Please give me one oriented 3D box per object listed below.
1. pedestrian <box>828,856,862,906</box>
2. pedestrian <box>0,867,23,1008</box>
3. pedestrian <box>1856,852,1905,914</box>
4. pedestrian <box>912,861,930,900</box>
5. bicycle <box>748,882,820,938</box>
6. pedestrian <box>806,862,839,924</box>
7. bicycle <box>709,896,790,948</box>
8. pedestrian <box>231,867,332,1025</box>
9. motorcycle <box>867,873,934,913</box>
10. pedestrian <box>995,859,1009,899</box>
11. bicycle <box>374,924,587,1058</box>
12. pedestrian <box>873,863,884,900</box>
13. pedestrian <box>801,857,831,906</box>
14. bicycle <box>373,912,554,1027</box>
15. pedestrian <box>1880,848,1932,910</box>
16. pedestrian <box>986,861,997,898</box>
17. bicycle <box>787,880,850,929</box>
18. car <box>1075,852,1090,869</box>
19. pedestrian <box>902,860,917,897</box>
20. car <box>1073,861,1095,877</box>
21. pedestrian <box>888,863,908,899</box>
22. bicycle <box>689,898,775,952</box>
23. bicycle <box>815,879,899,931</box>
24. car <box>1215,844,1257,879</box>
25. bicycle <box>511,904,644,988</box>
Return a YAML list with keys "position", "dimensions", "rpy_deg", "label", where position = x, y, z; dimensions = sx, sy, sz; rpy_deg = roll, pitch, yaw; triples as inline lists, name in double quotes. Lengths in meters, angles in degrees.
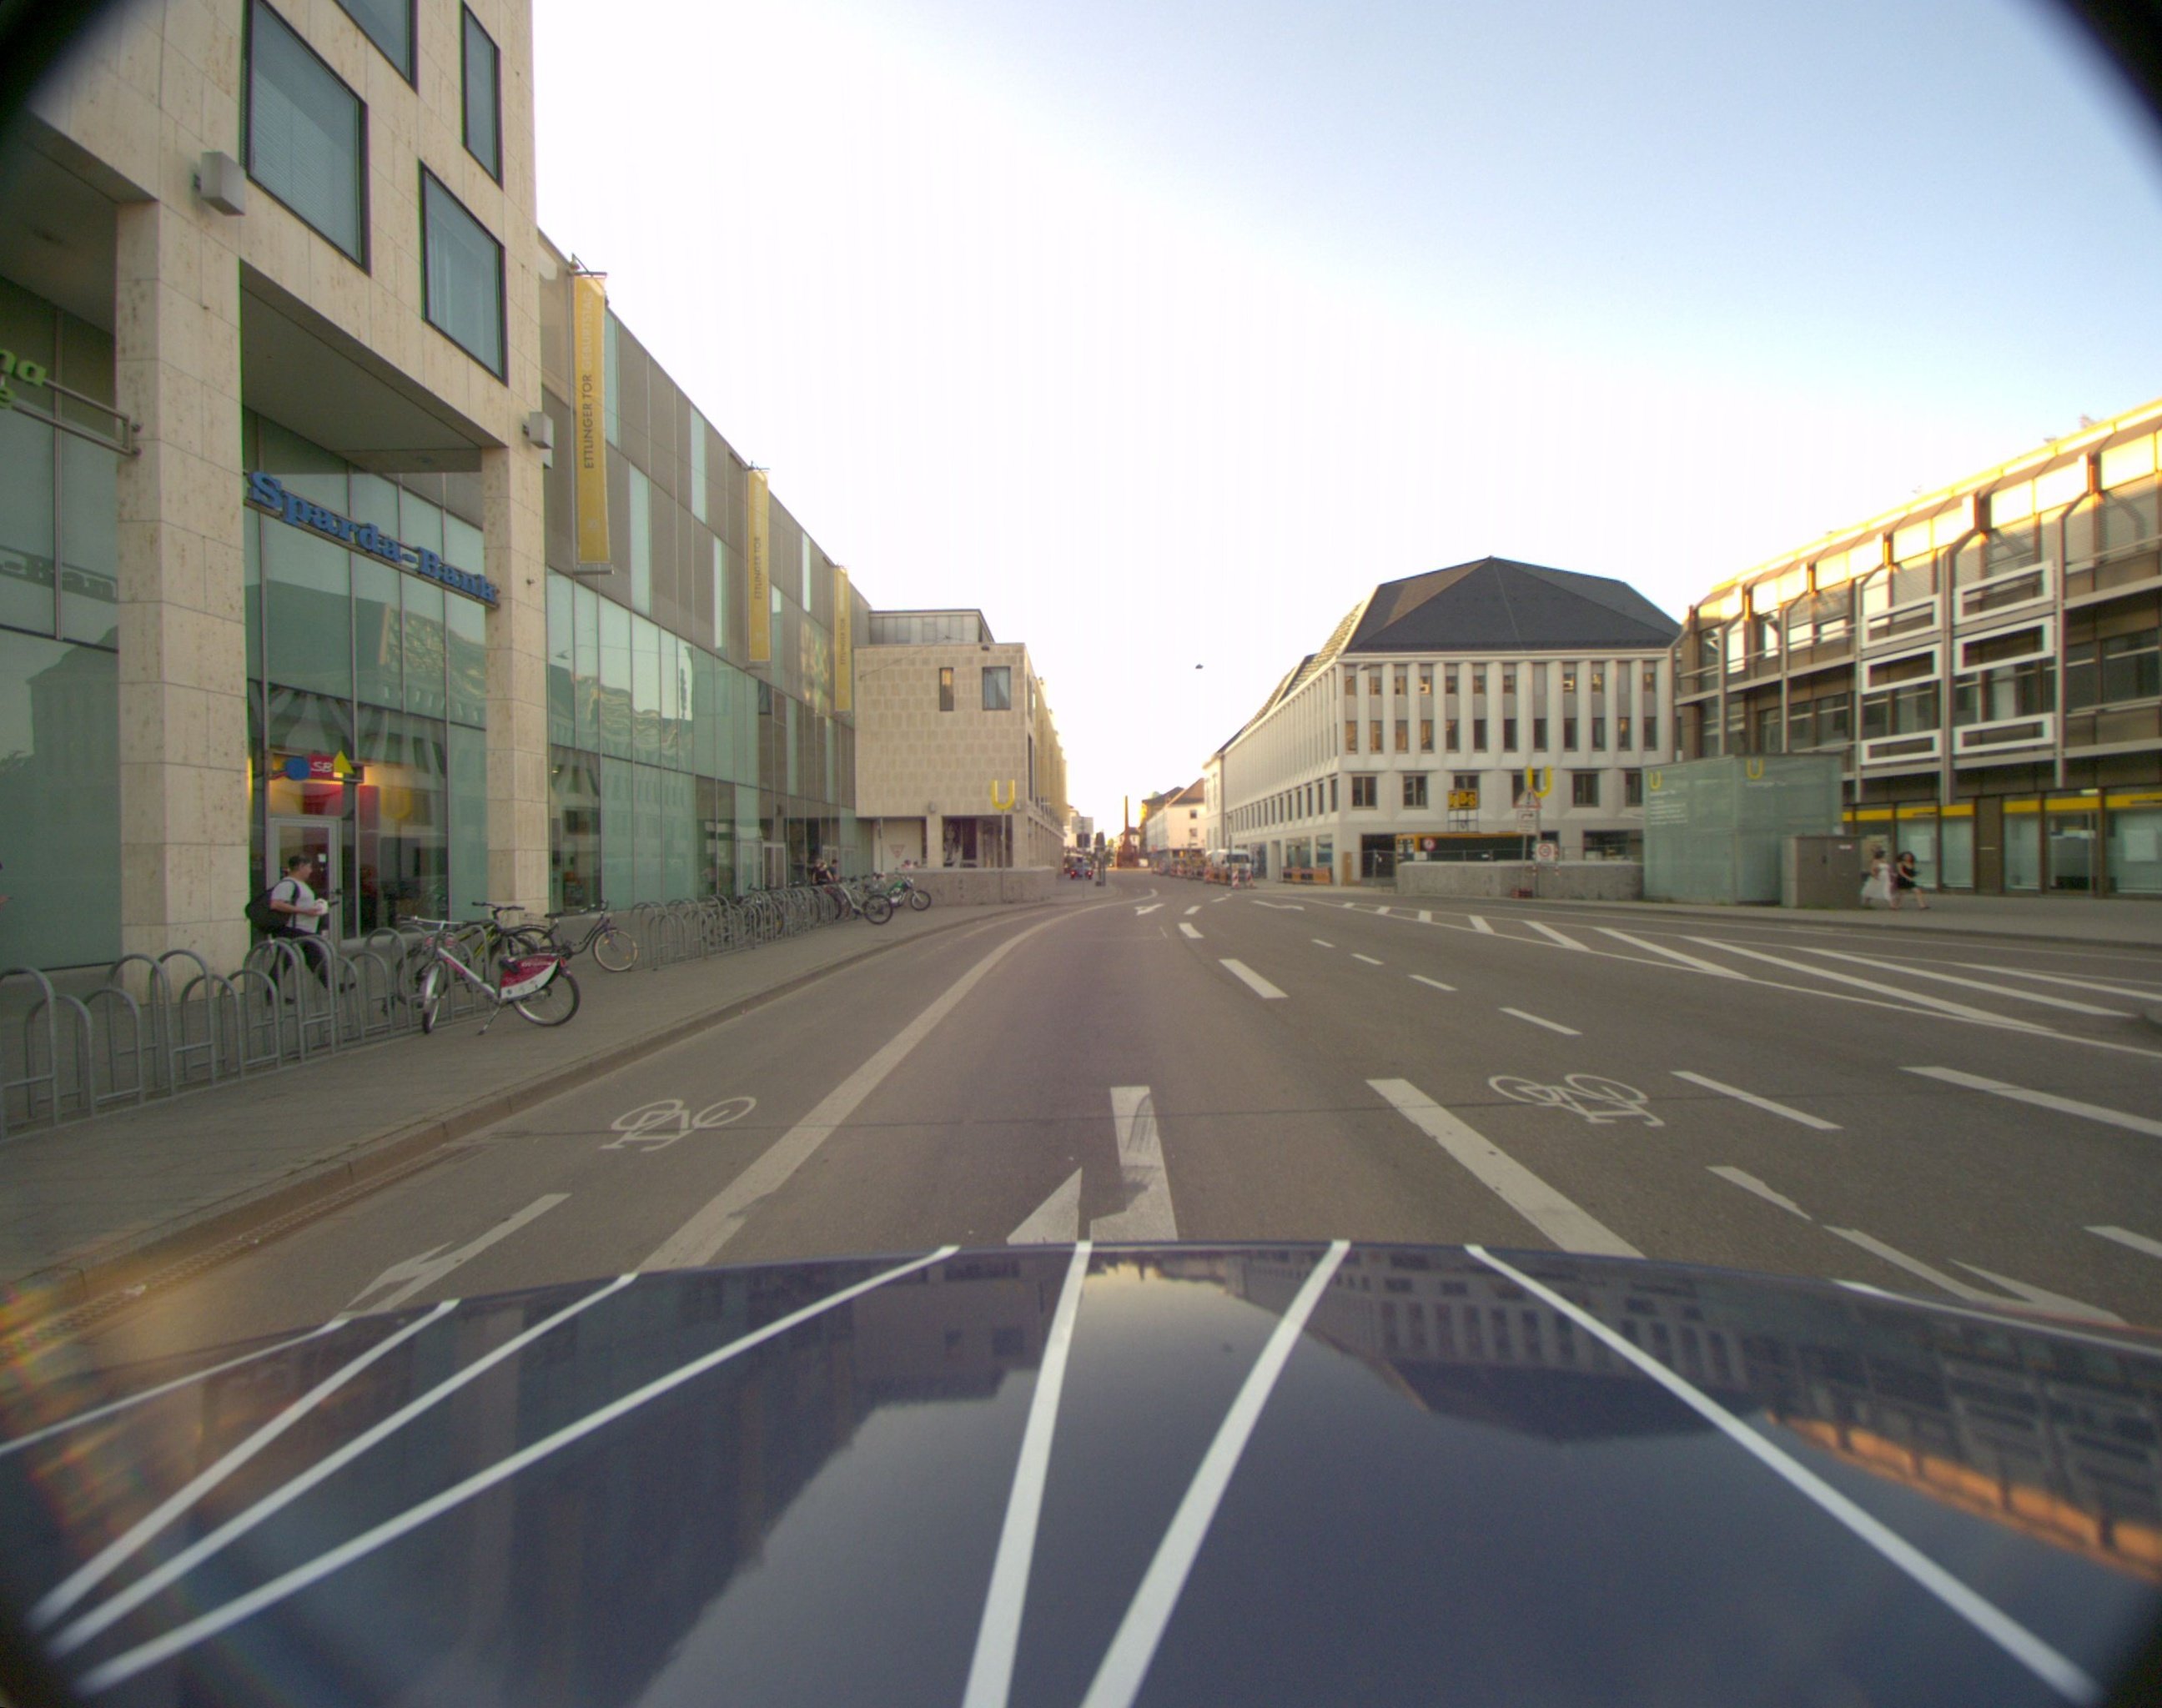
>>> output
- position: [-8.072, 0.900, 26.028]
  dimensions: [0.697, 1.686, 0.822]
  rpy_deg: [0, 0, 30]
  label: "pedestrian"
- position: [-12.895, 0.977, 8.672]
  dimensions: [0.629, 1.642, 0.708]
  rpy_deg: [-1, 0, 2]
  label: "pedestrian"
- position: [21.223, 0.760, 20.181]
  dimensions: [0.670, 1.629, 0.584]
  rpy_deg: [-1, 0, 1]
  label: "pedestrian"
- position: [-7.350, 1.207, 34.936]
  dimensions: [0.619, 1.770, 0.812]
  rpy_deg: [-1, 0, 3]
  label: "pedestrian"
- position: [-6.656, 1.238, 17.075]
  dimensions: [1.345, 1.157, 0.518]
  rpy_deg: [-3, 0, -1]
  label: "bicycle"
- position: [-7.014, 1.041, 20.665]
  dimensions: [0.809, 1.633, 0.646]
  rpy_deg: [-1, 0, -18]
  label: "pedestrian"
- position: [-6.593, 1.354, 15.146]
  dimensions: [1.345, 0.927, 0.518]
  rpy_deg: [-3, 0, -1]
  label: "bicycle"
- position: [-9.026, 0.992, 8.584]
  dimensions: [0.628, 1.682, 0.709]
  rpy_deg: [0, 0, 38]
  label: "pedestrian"
- position: [-5.707, 1.243, 24.082]
  dimensions: [2.007, 1.217, 0.480]
  rpy_deg: [-1, 0, -2]
  label: "motorcycle"
- position: [-3.493, 1.099, 33.507]
  dimensions: [0.516, 1.733, 0.493]
  rpy_deg: [-1, 0, 3]
  label: "pedestrian"
- position: [-5.395, 1.219, 6.864]
  dimensions: [1.518, 1.057, 0.466]
  rpy_deg: [-3, 0, 1]
  label: "bicycle"
- position: [-9.604, 1.297, 35.969]
  dimensions: [0.364, 1.733, 0.452]
  rpy_deg: [-1, 0, 3]
  label: "pedestrian"
- position: [-8.924, 0.919, 25.635]
  dimensions: [0.820, 1.638, 0.740]
  rpy_deg: [-1, 0, -10]
  label: "pedestrian"
- position: [-6.795, 1.259, 8.390]
  dimensions: [1.518, 1.117, 0.581]
  rpy_deg: [-3, 0, 4]
  label: "bicycle"
- position: [21.930, 0.656, 20.201]
  dimensions: [0.616, 1.629, 0.703]
  rpy_deg: [-1, 0, 1]
  label: "pedestrian"
- position: [-4.302, 1.230, 36.456]
  dimensions: [0.454, 1.733, 0.493]
  rpy_deg: [-1, 0, 3]
  label: "pedestrian"
- position: [-6.600, 1.266, 19.160]
  dimensions: [1.345, 1.157, 0.518]
  rpy_deg: [-3, 0, -1]
  label: "bicycle"
- position: [0.187, 0.879, 100.646]
  dimensions: [1.798, 2.198, 3.671]
  rpy_deg: [-1, 0, 2]
  label: "car"
- position: [-8.197, 1.178, 36.273]
  dimensions: [0.494, 1.733, 0.657]
  rpy_deg: [-1, 0, 3]
  label: "pedestrian"
- position: [0.332, 1.332, 67.663]
  dimensions: [1.798, 1.365, 3.671]
  rpy_deg: [-1, 0, 2]
  label: "car"
- position: [-8.902, 1.289, 36.953]
  dimensions: [0.793, 1.733, 0.657]
  rpy_deg: [-1, 0, 3]
  label: "pedestrian"
- position: [-6.651, 1.345, 14.501]
  dimensions: [1.345, 0.927, 0.518]
  rpy_deg: [-3, 0, -1]
  label: "bicycle"
- position: [-5.386, 1.220, 18.317]
  dimensions: [1.838, 1.140, 0.466]
  rpy_deg: [-3, 0, 1]
  label: "bicycle"
- position: [11.989, 0.590, 59.160]
  dimensions: [2.141, 2.540, 6.050]
  rpy_deg: [-1, 0, 1]
  label: "car"
- position: [-7.299, 1.316, 11.070]
  dimensions: [1.447, 1.058, 0.580]
  rpy_deg: [-3, 0, -10]
  label: "bicycle"
